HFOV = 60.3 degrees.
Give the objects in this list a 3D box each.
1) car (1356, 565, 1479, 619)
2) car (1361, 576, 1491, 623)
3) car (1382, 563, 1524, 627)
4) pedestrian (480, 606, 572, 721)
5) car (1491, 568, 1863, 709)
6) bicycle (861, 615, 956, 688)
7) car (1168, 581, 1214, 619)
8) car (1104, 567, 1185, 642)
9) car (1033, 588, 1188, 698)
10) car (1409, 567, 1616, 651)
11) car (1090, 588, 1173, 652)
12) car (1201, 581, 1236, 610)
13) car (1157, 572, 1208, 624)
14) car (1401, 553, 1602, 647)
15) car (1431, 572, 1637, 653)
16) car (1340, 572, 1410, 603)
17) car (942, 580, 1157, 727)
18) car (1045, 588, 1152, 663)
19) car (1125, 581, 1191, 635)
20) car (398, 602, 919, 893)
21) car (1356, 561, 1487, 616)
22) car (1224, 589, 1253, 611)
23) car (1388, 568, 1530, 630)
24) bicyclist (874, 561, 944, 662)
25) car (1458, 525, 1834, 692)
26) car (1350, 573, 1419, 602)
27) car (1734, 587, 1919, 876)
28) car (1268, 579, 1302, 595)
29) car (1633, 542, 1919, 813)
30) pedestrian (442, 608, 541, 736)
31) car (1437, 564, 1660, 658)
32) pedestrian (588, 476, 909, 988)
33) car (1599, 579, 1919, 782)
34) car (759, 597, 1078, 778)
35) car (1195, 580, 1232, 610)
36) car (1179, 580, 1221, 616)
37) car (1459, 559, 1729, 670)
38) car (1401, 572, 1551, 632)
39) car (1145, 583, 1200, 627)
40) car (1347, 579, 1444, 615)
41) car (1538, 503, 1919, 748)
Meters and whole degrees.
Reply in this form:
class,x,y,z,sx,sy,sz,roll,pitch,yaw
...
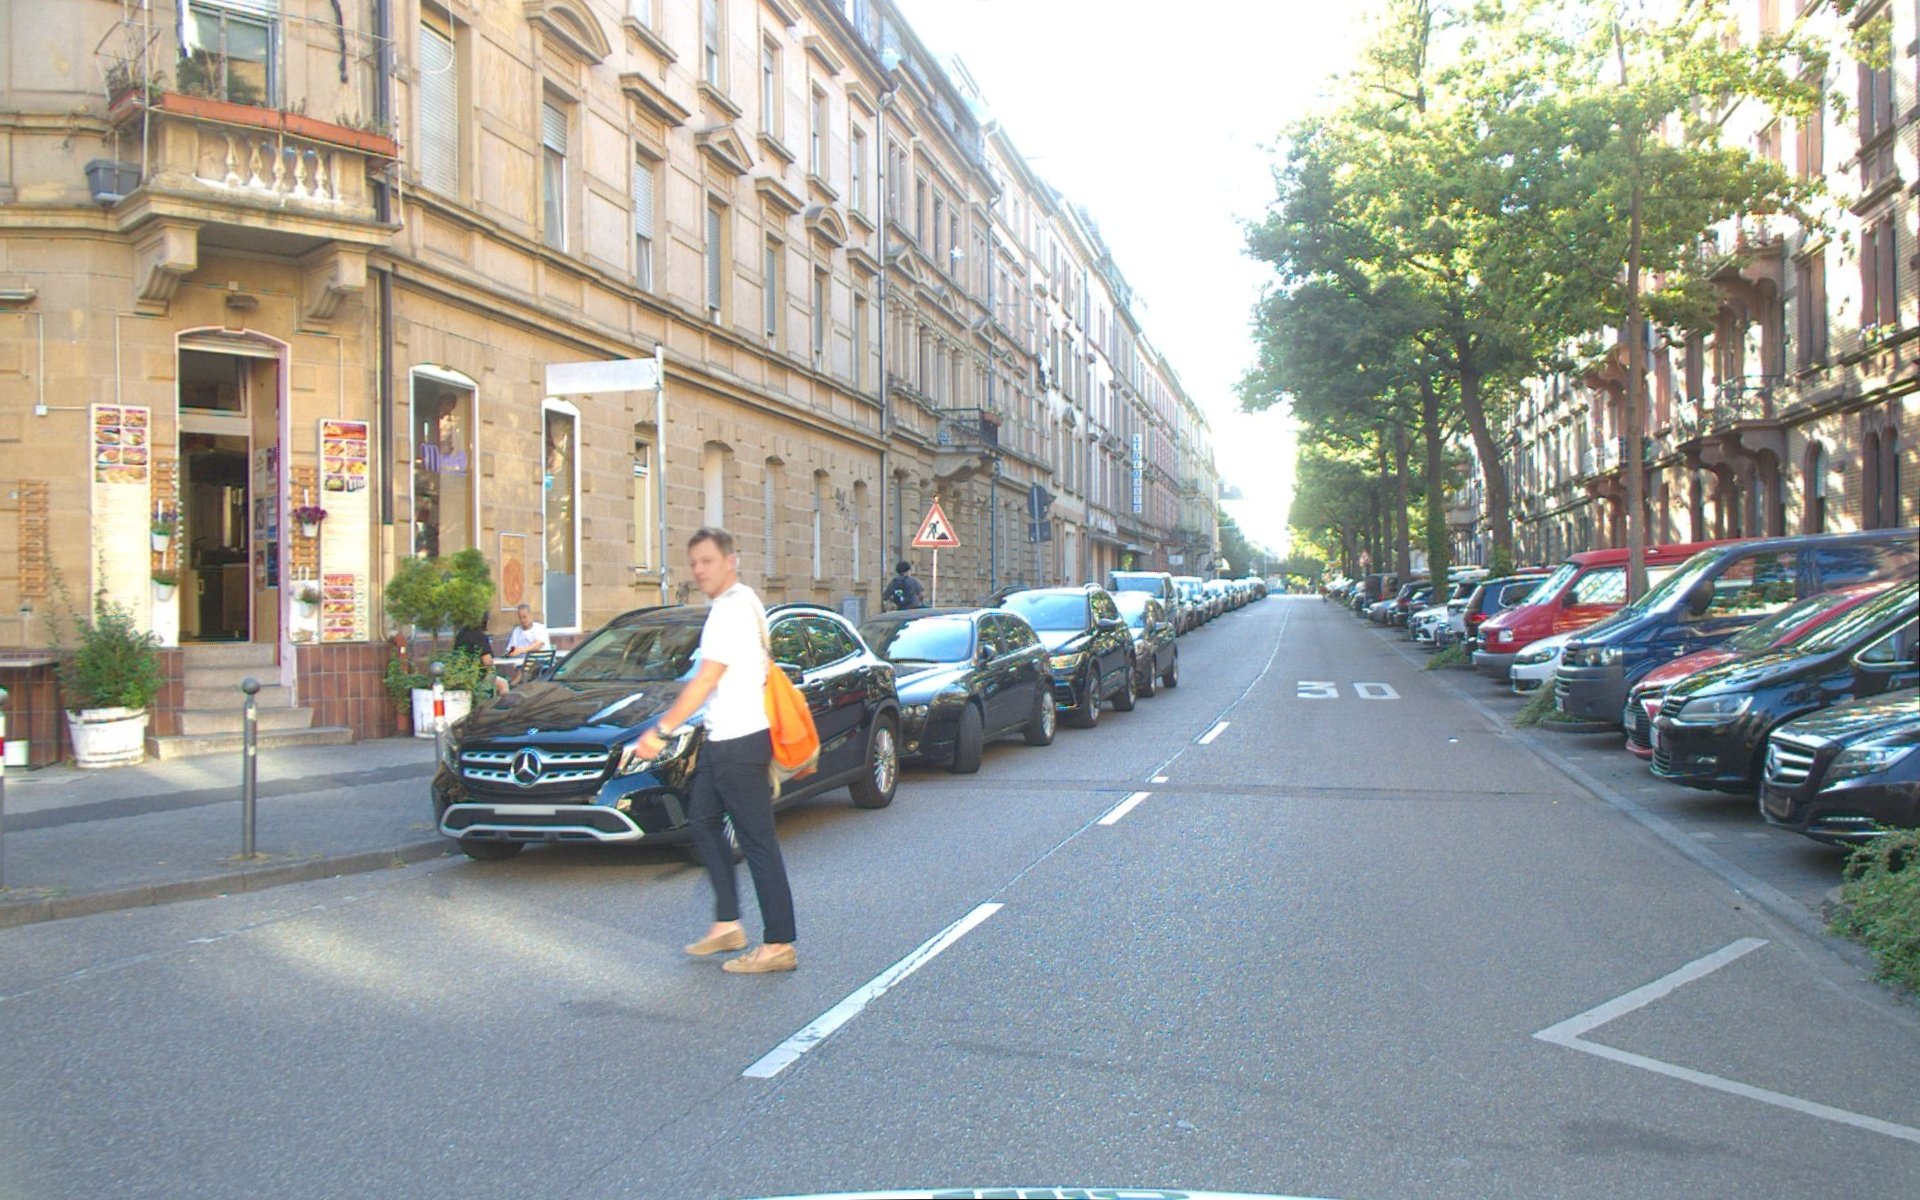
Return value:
class,x,y,z,sx,sy,sz,roll,pitch,yaw
car,17.600,-0.308,63.751,4.142,1.826,1.832,-3,0,-8
car,16.360,-0.025,58.247,4.131,1.428,1.836,-3,0,7
car,15.797,-0.151,53.167,4.131,1.807,1.837,-3,0,11
pedestrian,-4.780,0.690,18.253,0.710,1.235,0.757,-1,0,10
car,8.969,0.480,21.028,3.967,1.536,1.880,-3,-1,11
bicycle,-0.931,0.943,31.098,0.974,1.178,2.926,-2,1,14
car,9.635,-0.024,68.830,1.721,1.498,4.063,-1,1,10
car,5.304,0.079,47.048,1.793,1.977,5.265,1,1,12
car,2.448,0.622,26.003,1.721,1.527,4.063,-2,0,15
car,12.652,0.197,38.112,4.251,1.583,1.852,-4,1,11
car,4.329,0.463,41.362,1.558,1.501,3.702,1,1,14
car,14.144,-0.266,90.372,1.721,1.498,4.063,-1,1,10
car,8.634,-0.102,63.872,1.721,1.874,4.534,-1,1,10
car,13.214,-0.018,40.614,4.349,1.957,1.852,-4,1,9
car,12.328,0.266,35.754,3.925,1.459,1.796,-4,-1,11
car,24.874,-0.749,99.268,3.769,1.601,1.719,-3,0,4
car,1.267,0.595,21.026,1.721,1.628,4.554,-2,0,16
car,3.146,0.531,36.939,1.721,1.527,4.063,-2,0,14
car,6.344,0.217,52.700,1.716,1.636,4.388,1,1,12
car,-1.724,0.807,10.970,1.721,1.514,4.141,-2,0,16
car,18.744,-0.469,67.331,4.949,1.959,1.837,-3,0,12
car,20.614,-0.014,122.395,1.951,1.512,4.003,-1,-1,11
car,15.141,-0.028,50.372,3.925,1.635,1.735,-3,-1,11
bicyclist,-0.951,0.202,31.102,0.974,1.821,1.208,-2,1,14
car,9.682,0.136,23.693,4.575,2.069,1.880,-3,-1,9
car,26.010,-0.757,101.489,3.769,1.601,1.719,-3,0,4
car,6.847,0.584,8.732,4.684,1.437,1.852,-3,-1,15
car,39.239,-1.573,199.624,3.904,1.891,1.752,0,1,20
car,7.126,0.451,11.148,4.589,1.708,1.852,-3,-1,17
pedestrian,-4.829,0.727,17.083,0.710,1.281,0.757,-1,0,10
car,11.779,0.225,33.361,3.925,1.656,1.807,-3,-1,10
pedestrian,-0.827,0.505,6.740,1.090,1.932,0.843,-1,0,8
car,7.540,0.617,13.606,4.018,1.561,1.726,-1,0,12
car,-0.222,0.749,16.114,1.721,1.477,4.553,-2,0,17
car,13.161,-0.274,85.703,1.721,1.498,4.063,-1,1,10
car,10.883,-0.112,74.808,1.721,1.498,4.063,-1,1,10
car,10.845,0.254,28.594,4.097,1.656,1.839,-3,-1,15
car,14.871,0.059,47.888,3.925,1.493,1.735,-3,-1,11
car,7.644,0.147,59.234,1.721,1.492,4.004,1,1,10
car,18.492,-0.153,70.312,3.768,1.316,1.719,-3,0,8
car,8.454,0.242,16.327,4.914,2.253,1.994,-1,0,11
